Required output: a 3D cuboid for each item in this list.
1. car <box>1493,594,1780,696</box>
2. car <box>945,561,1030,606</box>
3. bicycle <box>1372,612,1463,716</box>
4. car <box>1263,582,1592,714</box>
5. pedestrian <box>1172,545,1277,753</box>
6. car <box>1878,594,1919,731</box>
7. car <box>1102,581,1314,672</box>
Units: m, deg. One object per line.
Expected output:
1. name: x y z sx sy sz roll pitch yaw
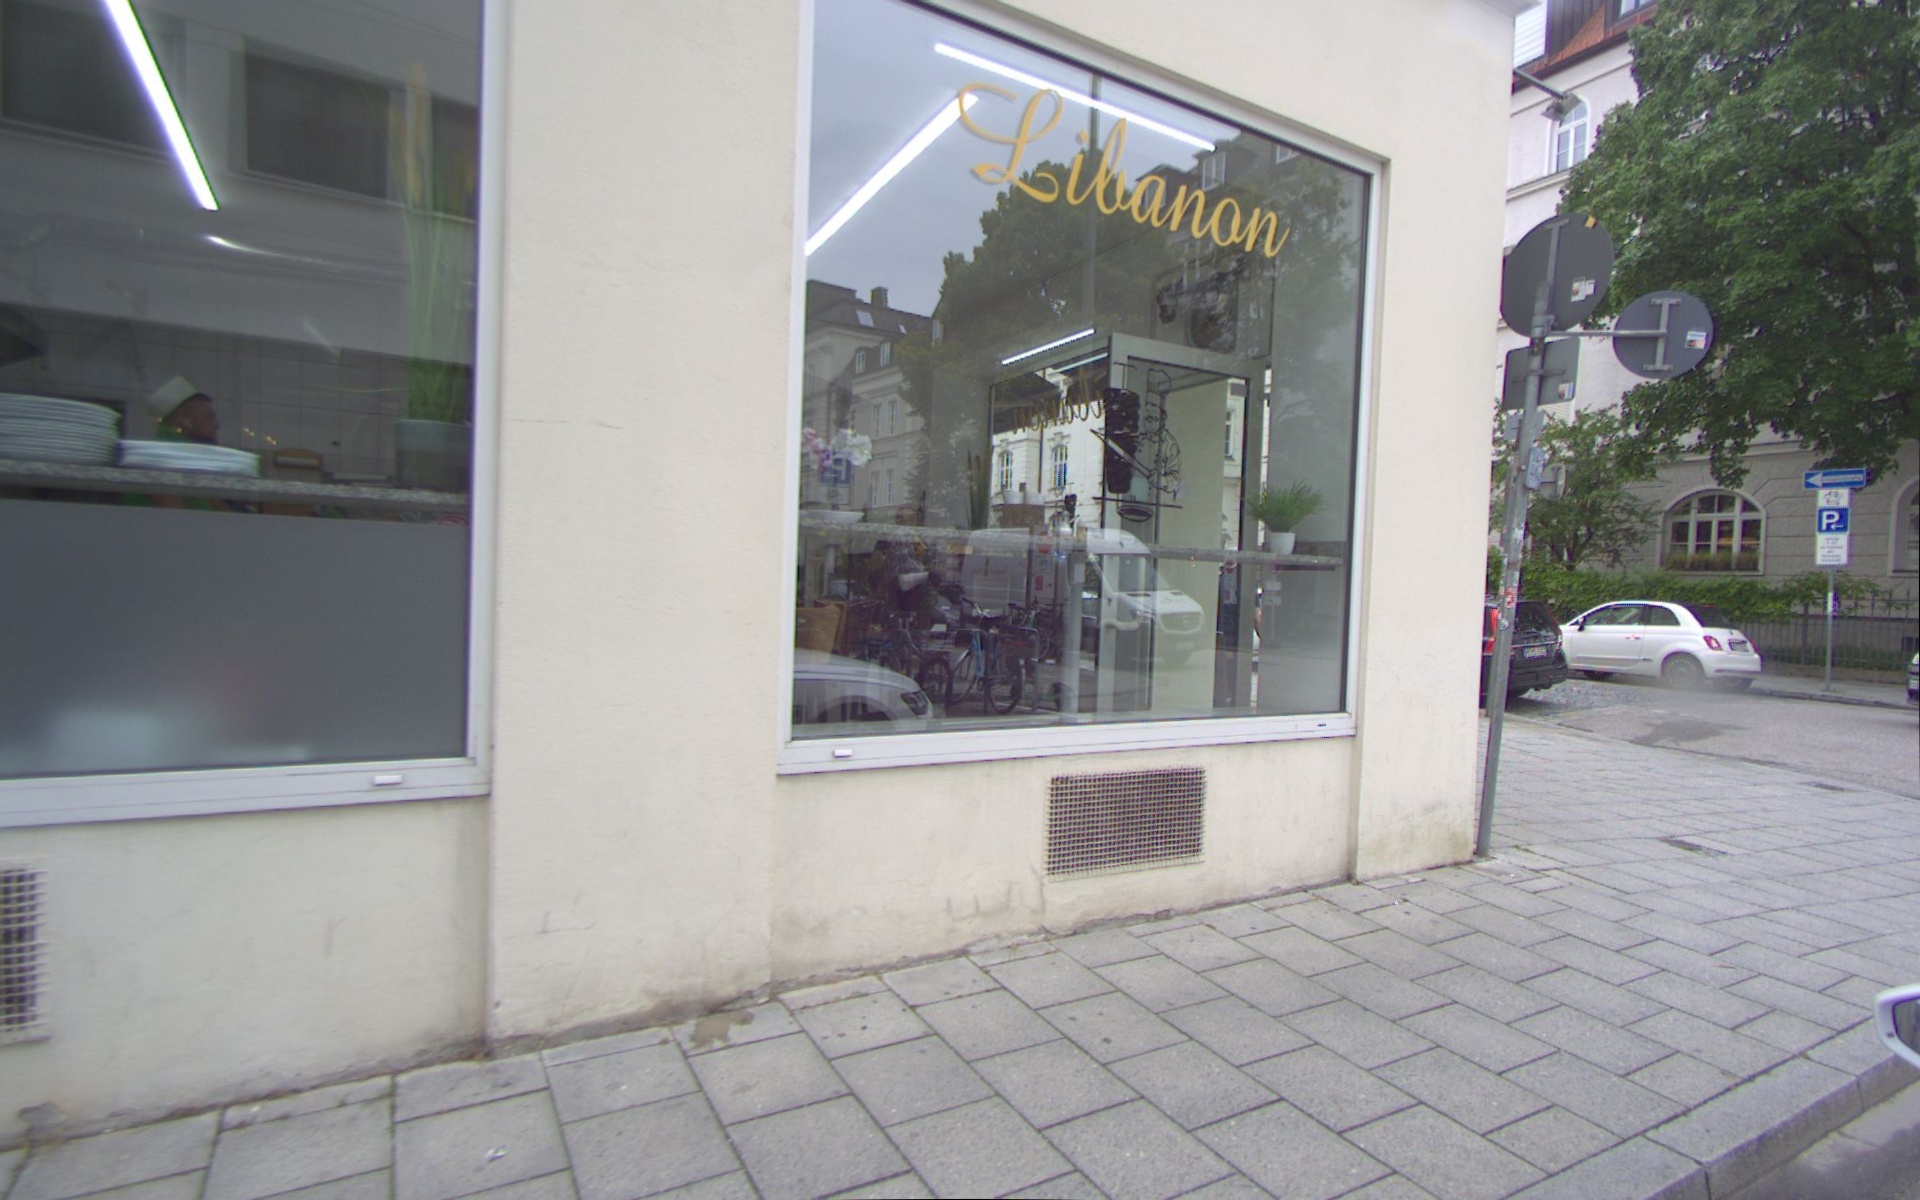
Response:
1. car: 11.985 0.725 18.106 1.662 1.468 3.975 2 2 -25
2. car: 1.051 -0.706 40.110 1.686 1.669 3.972 1 1 -27
3. bicycle: 5.910 0.781 13.080 0.597 1.185 1.836 4 1 11
4. car: 6.894 0.582 15.340 1.879 1.537 4.316 -3 4 -28
5. pedestrian: 2.217 0.384 8.437 0.534 1.664 0.598 1 2 -43
6. car: 13.526 0.820 11.344 4.230 1.629 1.960 2 1 28
7. car: 4.763 0.421 19.926 1.663 1.528 4.232 -1 3 -28
